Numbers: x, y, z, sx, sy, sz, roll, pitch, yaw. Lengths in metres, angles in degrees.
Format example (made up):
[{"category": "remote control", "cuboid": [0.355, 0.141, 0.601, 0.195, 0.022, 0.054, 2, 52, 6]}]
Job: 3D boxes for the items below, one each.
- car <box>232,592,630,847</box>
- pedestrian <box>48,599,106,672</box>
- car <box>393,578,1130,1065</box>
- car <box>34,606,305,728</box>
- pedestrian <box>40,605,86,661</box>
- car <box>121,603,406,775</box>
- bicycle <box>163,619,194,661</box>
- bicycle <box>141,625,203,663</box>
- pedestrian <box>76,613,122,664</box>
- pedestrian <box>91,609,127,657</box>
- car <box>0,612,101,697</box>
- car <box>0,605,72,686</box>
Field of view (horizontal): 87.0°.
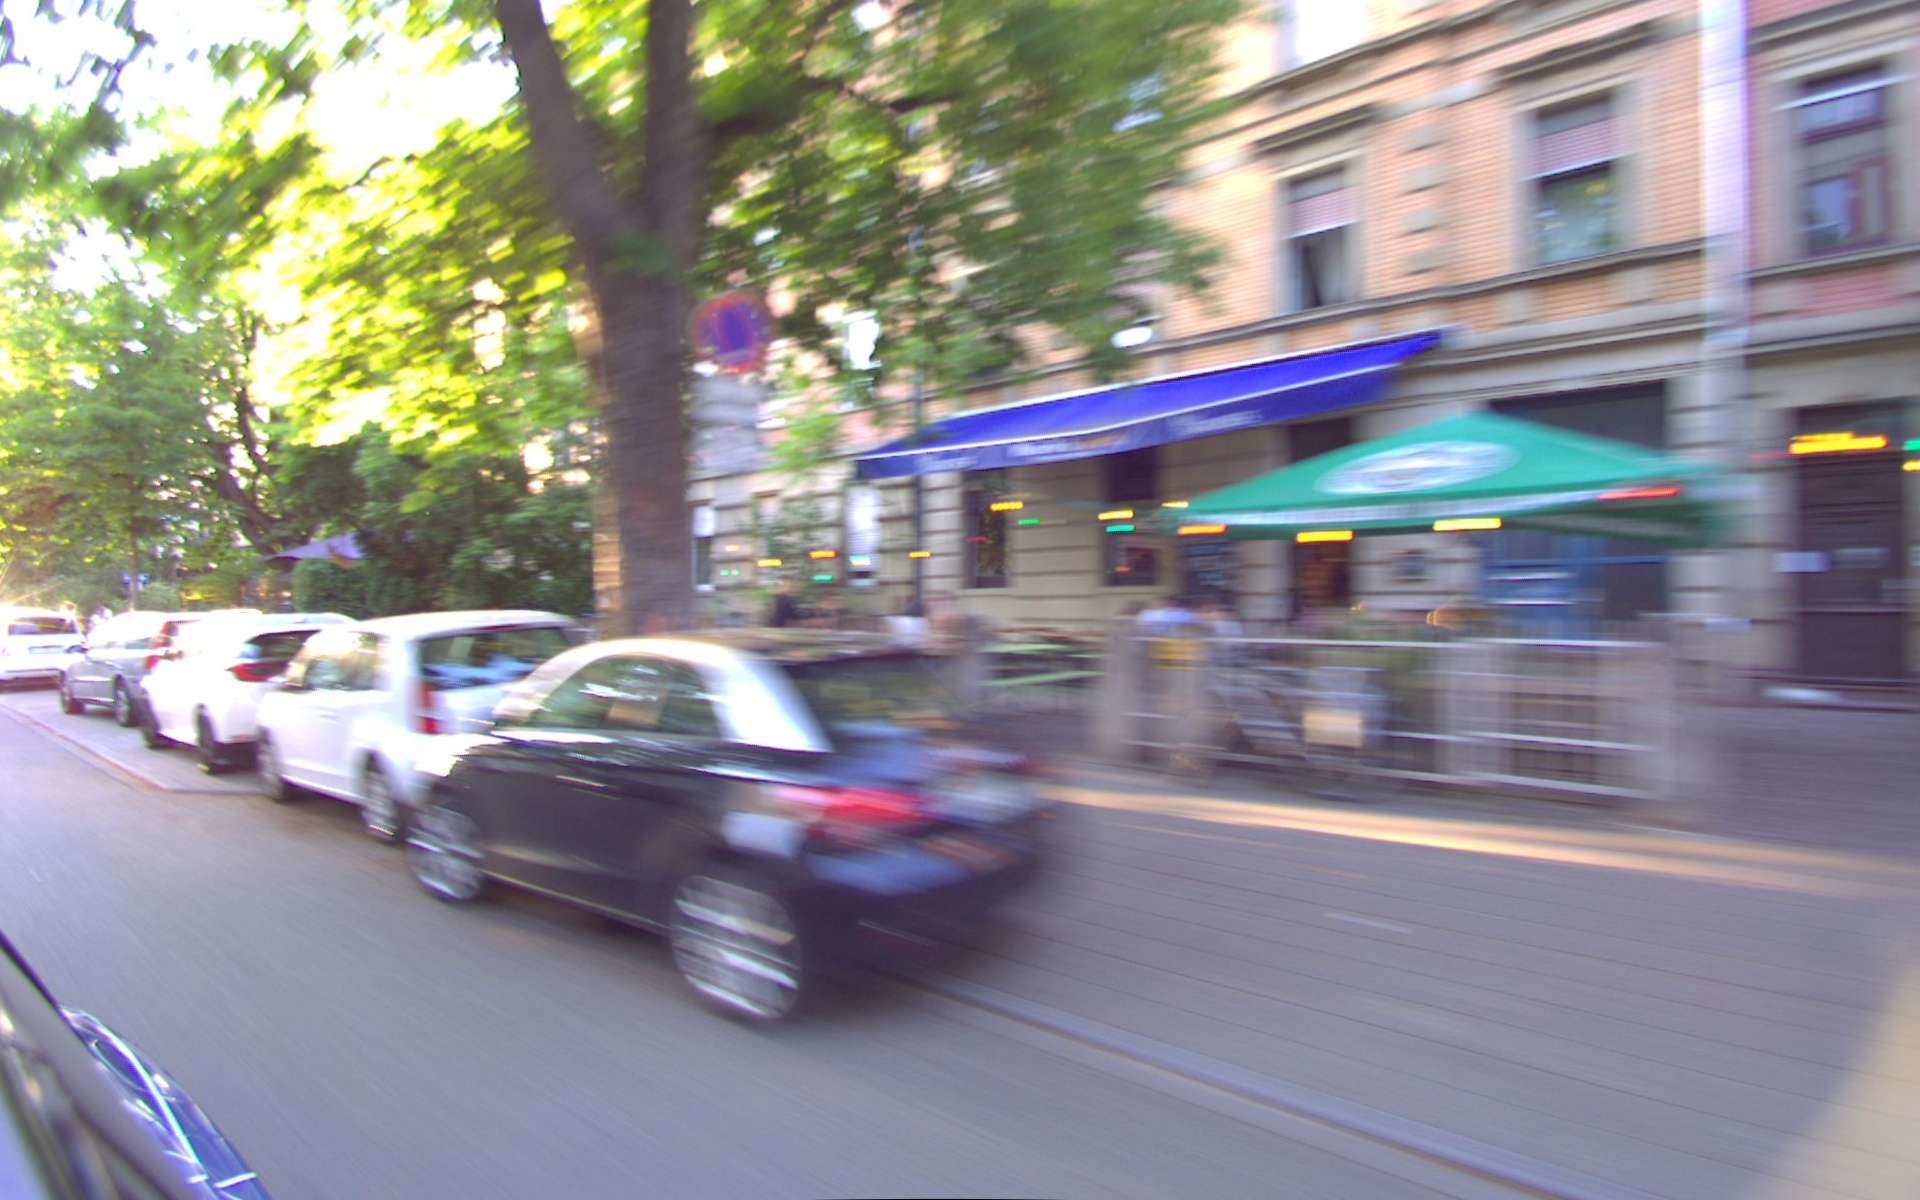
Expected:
[{"category": "car", "cuboid": [-4.288, 0.759, 7.956, 3.693, 1.496, 1.535, -2, 1, 42]}, {"category": "pedestrian", "cuboid": [-25.106, 1.010, 28.788, 1.002, 2.029, 0.863, -1, -1, 21]}, {"category": "car", "cuboid": [-1.179, 0.732, 4.910, 3.690, 1.497, 1.536, -2, -2, 40]}, {"category": "car", "cuboid": [-11.414, 0.886, 14.509, 4.591, 1.422, 1.824, -2, 1, 36]}, {"category": "pedestrian", "cuboid": [-29.878, 1.083, 33.715, 1.000, 1.849, 0.684, 0, -1, 15]}, {"category": "car", "cuboid": [-7.534, 0.829, 10.809, 3.884, 1.446, 1.587, -2, 1, 42]}, {"category": "bicycle", "cuboid": [-23.481, 1.181, 30.389, 1.747, 1.152, 0.387, 0, 6, 44]}, {"category": "bicycle", "cuboid": [-23.930, 1.332, 30.774, 0.387, 1.107, 1.827, -1, -2, 2]}, {"category": "pedestrian", "cuboid": [-28.598, 1.273, 33.611, 1.043, 1.643, 0.684, 0, -1, 15]}, {"category": "pedestrian", "cuboid": [-34.526, 1.323, 41.067, 0.778, 1.837, 0.916, 2, 2, 30]}, {"category": "car", "cuboid": [-18.834, 1.062, 20.438, 3.707, 1.504, 1.647, -2, 1, 40]}, {"category": "car", "cuboid": [-22.003, 1.035, 23.249, 3.841, 1.690, 1.649, -2, 1, 38]}]
